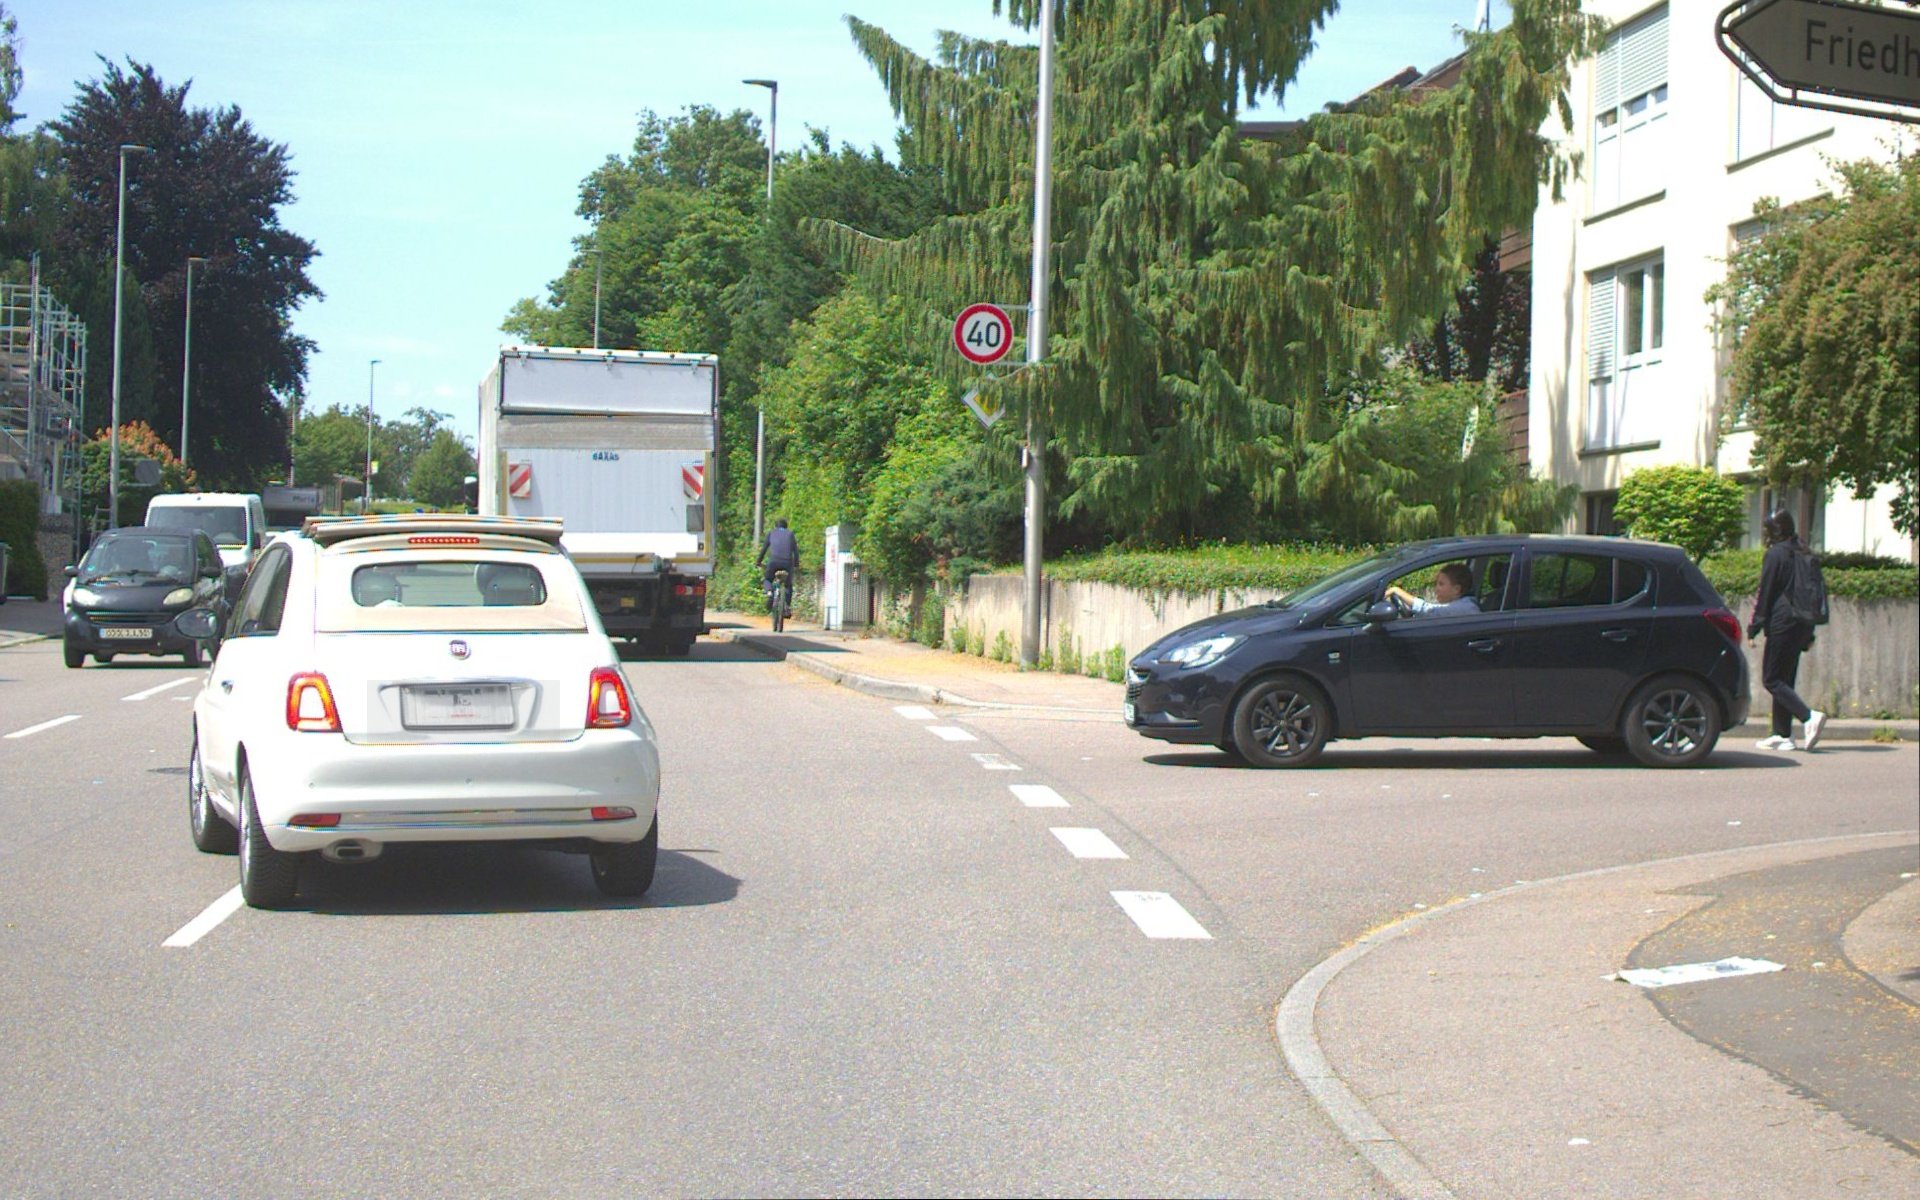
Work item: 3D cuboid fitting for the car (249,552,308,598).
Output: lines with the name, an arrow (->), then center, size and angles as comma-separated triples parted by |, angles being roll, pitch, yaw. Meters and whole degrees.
car -> -22.363, -0.828, 112.903 | 1.477, 1.489, 3.080 | 1, 1, -3

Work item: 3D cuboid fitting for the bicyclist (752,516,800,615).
bicyclist -> -2.678, -0.500, 50.046 | 0.588, 1.408, 0.742 | 2, 1, -8

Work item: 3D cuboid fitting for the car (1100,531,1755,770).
car -> 2.961, 0.304, 22.287 | 3.933, 1.453, 1.659 | 1, 1, -4

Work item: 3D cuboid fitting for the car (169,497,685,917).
car -> -2.436, 0.359, 14.898 | 1.724, 1.555, 4.001 | 0, 1, -16

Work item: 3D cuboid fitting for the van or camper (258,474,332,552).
van or camper -> -26.199, -3.427, 135.666 | 2.264, 2.952, 5.890 | 2, 1, -6

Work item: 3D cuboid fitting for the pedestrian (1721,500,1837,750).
pedestrian -> 5.589, 0.162, 23.447 | 0.697, 1.666, 0.569 | 2, 2, 16

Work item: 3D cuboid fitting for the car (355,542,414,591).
car -> -19.192, -1.125, 114.746 | 1.833, 1.529, 4.001 | 2, 1, -9

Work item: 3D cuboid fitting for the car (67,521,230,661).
car -> -9.039, -0.120, 38.434 | 1.480, 1.505, 2.801 | 0, 1, -7

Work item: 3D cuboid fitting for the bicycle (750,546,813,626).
bicycle -> -2.606, -0.216, 49.924 | 0.668, 1.100, 2.426 | 2, 1, -8

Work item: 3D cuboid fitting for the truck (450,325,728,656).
truck -> -4.836, -1.309, 43.464 | 3.067, 3.761, 7.870 | 1, 1, -9

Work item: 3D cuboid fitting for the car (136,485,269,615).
car -> -13.537, -0.912, 61.684 | 2.036, 2.192, 5.584 | 1, 1, -10

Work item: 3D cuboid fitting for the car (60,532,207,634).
car -> -11.978, -0.273, 50.038 | 1.804, 1.393, 4.001 | 1, 1, -10
